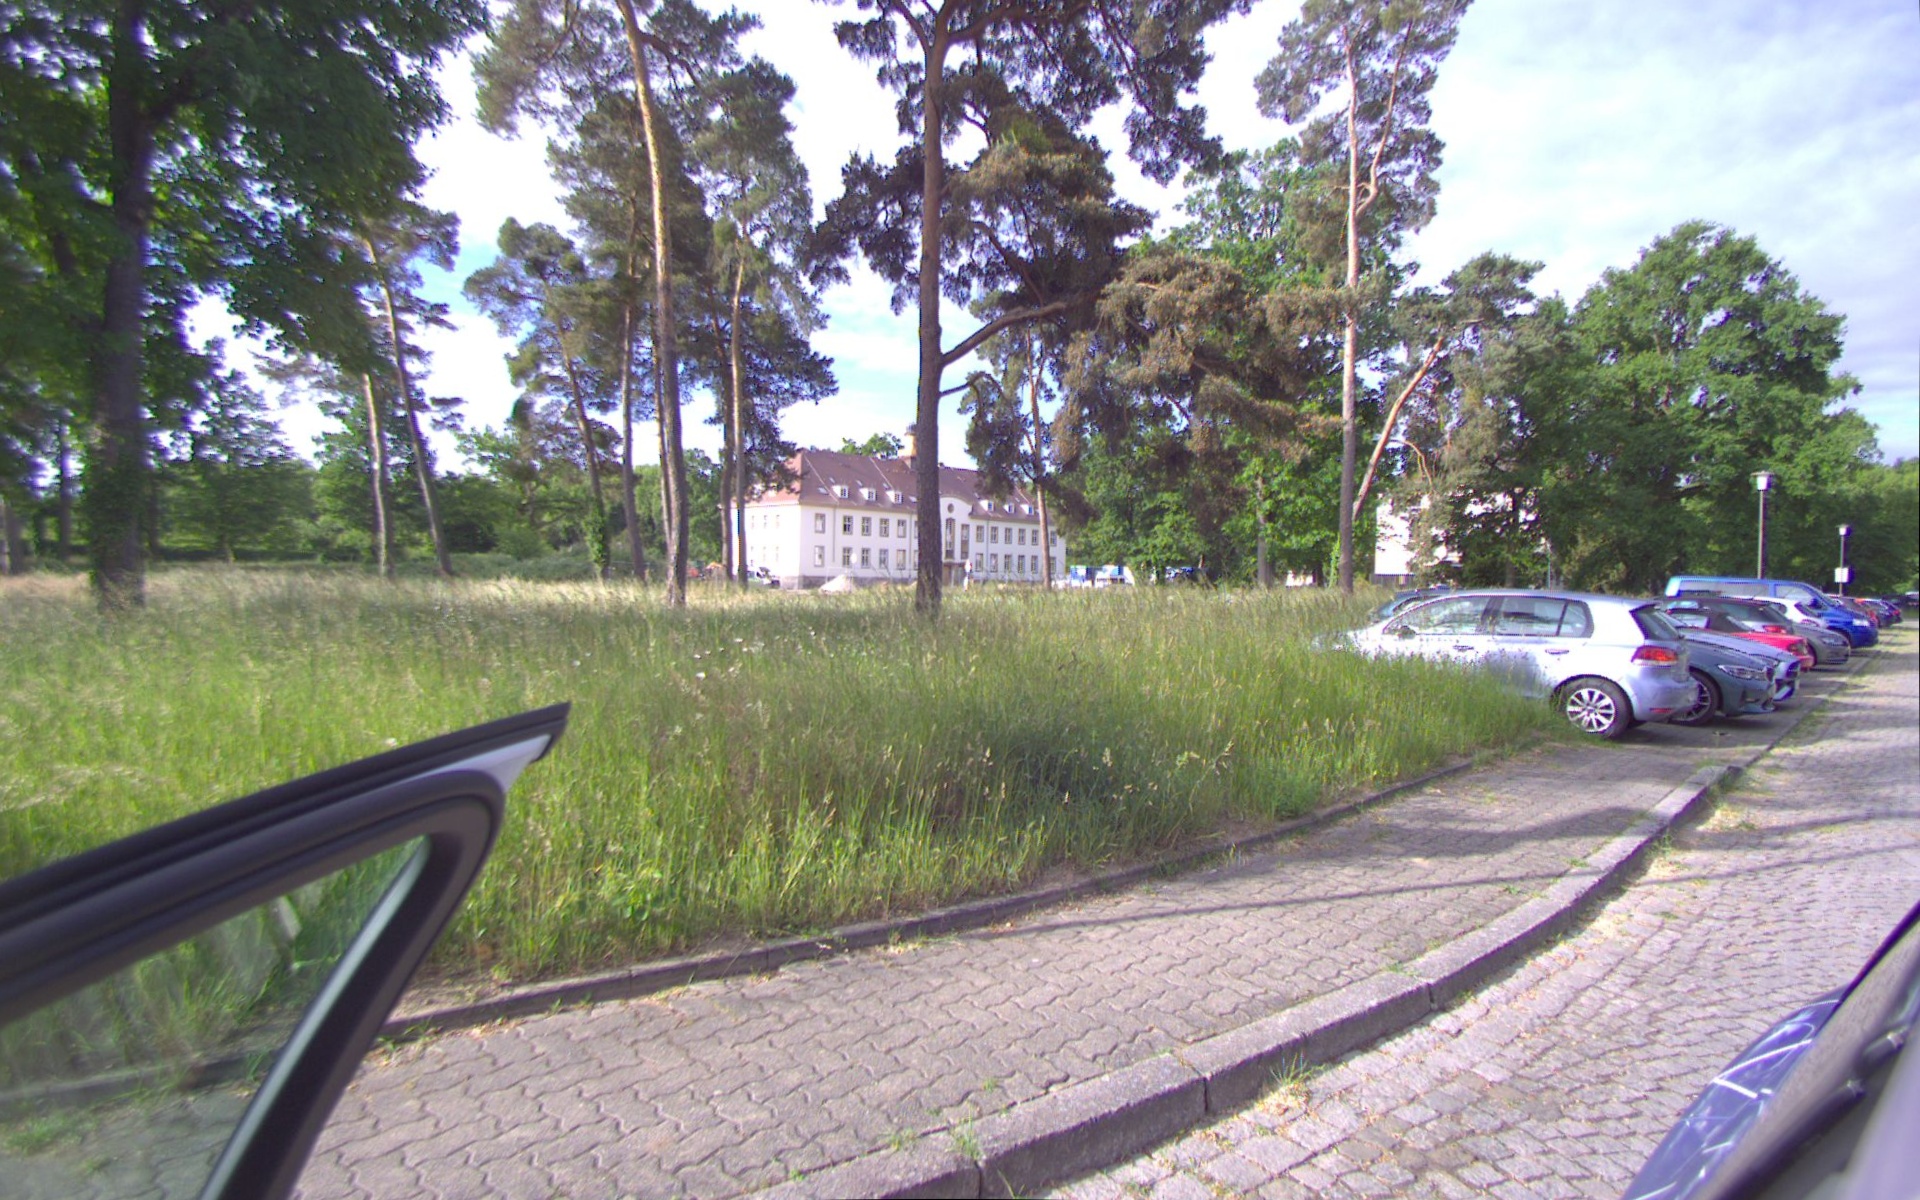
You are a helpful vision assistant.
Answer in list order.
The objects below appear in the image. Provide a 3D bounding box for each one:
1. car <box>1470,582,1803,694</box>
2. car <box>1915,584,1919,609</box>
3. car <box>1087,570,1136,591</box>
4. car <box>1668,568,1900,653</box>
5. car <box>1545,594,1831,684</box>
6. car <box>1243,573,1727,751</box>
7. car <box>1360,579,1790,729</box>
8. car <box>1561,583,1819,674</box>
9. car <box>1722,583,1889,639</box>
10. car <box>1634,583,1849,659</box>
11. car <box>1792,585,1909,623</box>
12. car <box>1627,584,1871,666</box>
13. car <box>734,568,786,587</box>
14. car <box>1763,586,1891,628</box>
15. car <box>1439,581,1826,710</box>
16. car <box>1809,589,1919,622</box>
[{"bbox_3d":[11.116,0.509,16.866,1.712,1.491,4.344,-1,3,-45],"label":"car"},{"bbox_3d":[82.414,-0.242,83.565,1.968,2.066,5.068,0,1,-45],"label":"car"},{"bbox_3d":[16.917,-2.153,112.876,5.861,2.328,2.165,0,2,-43],"label":"car"},{"bbox_3d":[22.581,0.187,27.865,4.736,1.952,1.960,5,4,44],"label":"car"},{"bbox_3d":[13.019,0.619,18.266,1.698,1.276,3.954,-1,3,-44],"label":"car"},{"bbox_3d":[5.771,0.512,11.534,4.545,1.523,1.903,3,3,44],"label":"car"},{"bbox_3d":[7.816,0.540,13.137,4.504,1.491,1.867,3,3,41],"label":"car"},{"bbox_3d":[14.592,0.483,20.370,1.743,1.513,3.954,-1,3,-44],"label":"car"},{"bbox_3d":[28.538,0.313,34.250,4.192,1.608,1.848,3,3,44],"label":"car"},{"bbox_3d":[18.692,0.434,24.311,1.778,1.549,3.878,-1,3,-44],"label":"car"},{"bbox_3d":[42.746,0.154,48.632,4.128,1.588,1.719,3,3,45],"label":"car"},{"bbox_3d":[17.044,0.466,21.975,1.801,1.485,3.954,-1,3,-44],"label":"car"},{"bbox_3d":[-22.031,-2.501,111.442,5.637,2.038,2.597,2,2,39],"label":"car"},{"bbox_3d":[35.534,0.256,41.535,3.879,1.490,1.660,4,4,44],"label":"car"},{"bbox_3d":[9.797,0.531,15.021,1.820,1.491,4.510,-1,3,-45],"label":"car"},{"bbox_3d":[46.176,0.244,51.734,1.753,1.468,4.032,-1,3,-43],"label":"car"}]
